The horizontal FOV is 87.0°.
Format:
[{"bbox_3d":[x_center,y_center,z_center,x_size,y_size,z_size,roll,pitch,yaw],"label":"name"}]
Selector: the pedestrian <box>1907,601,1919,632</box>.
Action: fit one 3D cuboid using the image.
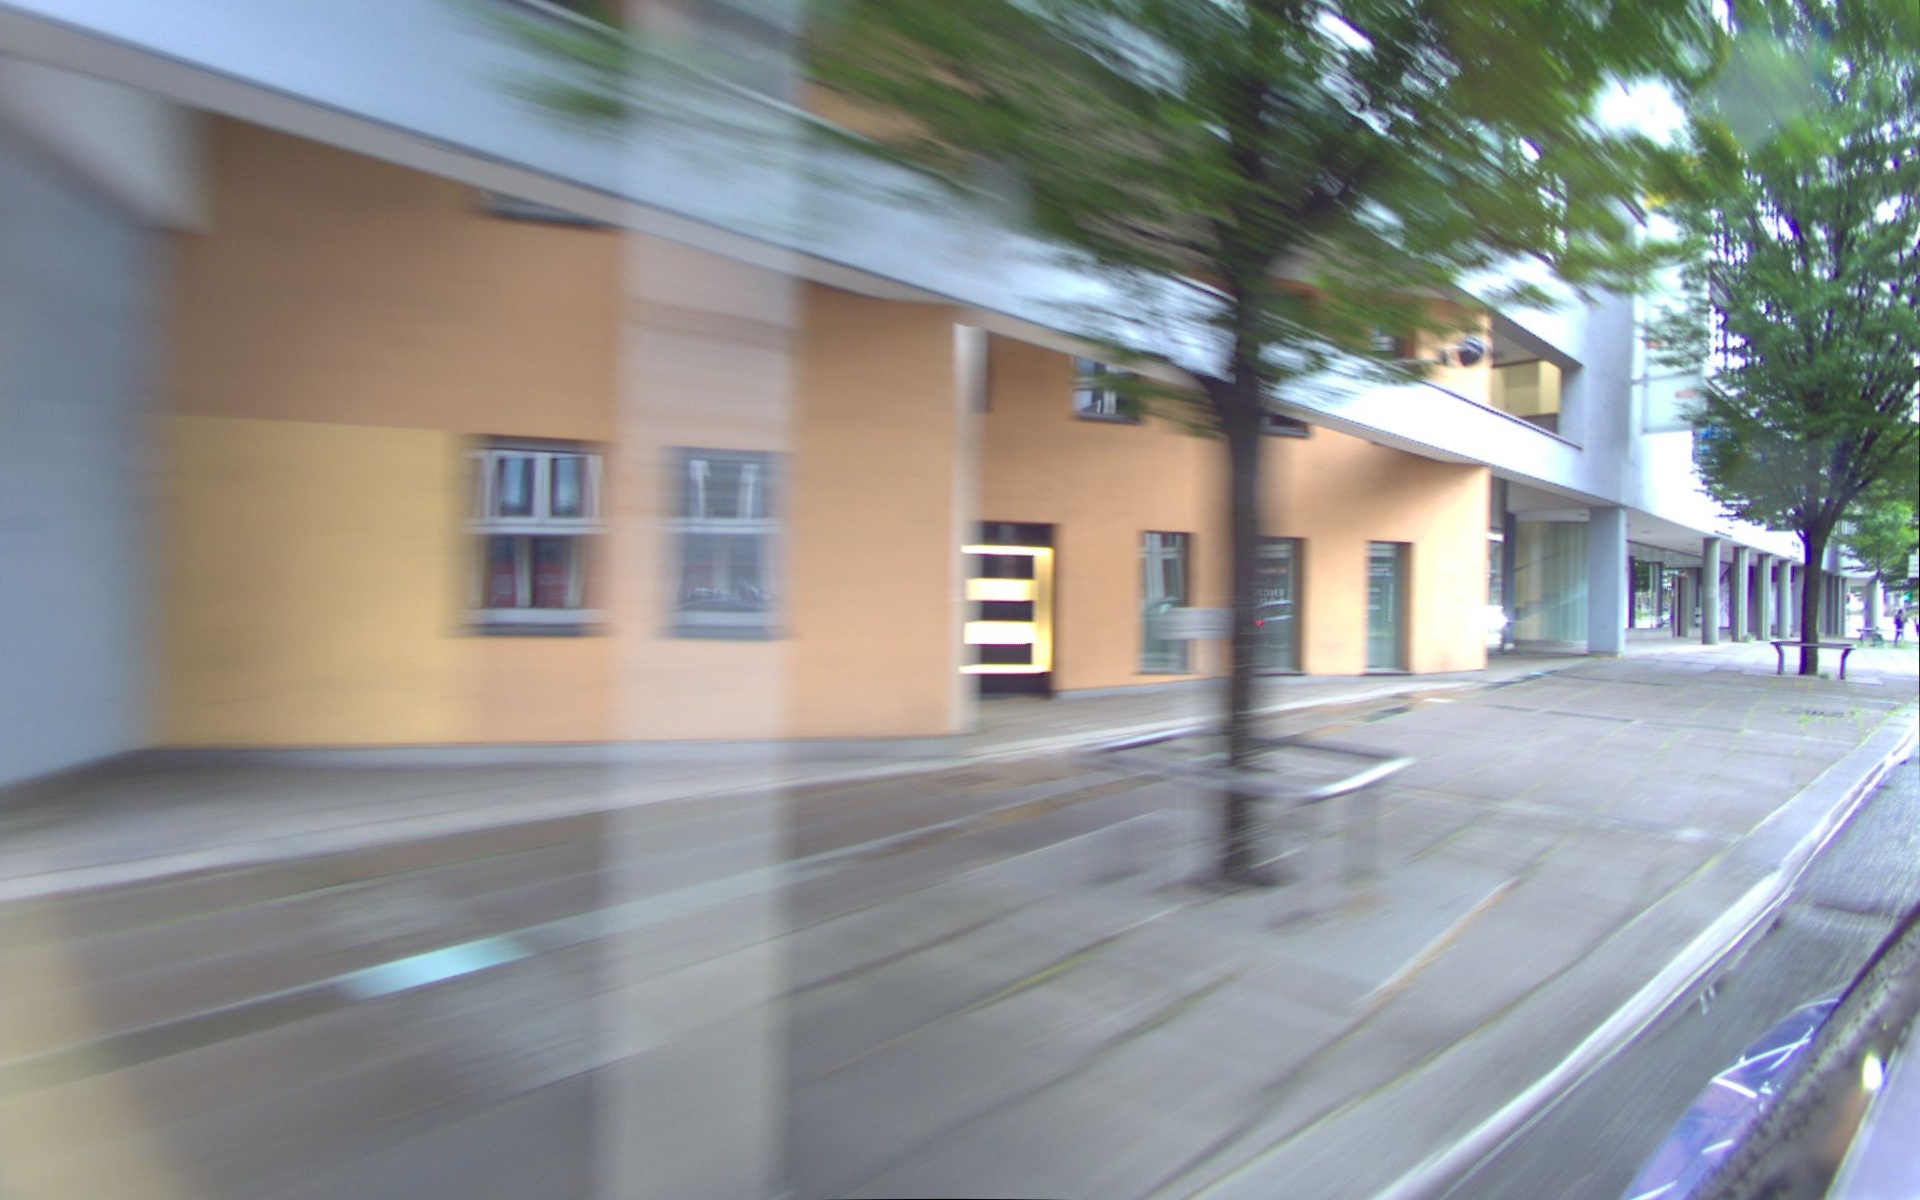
[{"bbox_3d":[55.485,0.974,58.684,0.791,1.805,0.880,-2,-3,44],"label":"pedestrian"}]
